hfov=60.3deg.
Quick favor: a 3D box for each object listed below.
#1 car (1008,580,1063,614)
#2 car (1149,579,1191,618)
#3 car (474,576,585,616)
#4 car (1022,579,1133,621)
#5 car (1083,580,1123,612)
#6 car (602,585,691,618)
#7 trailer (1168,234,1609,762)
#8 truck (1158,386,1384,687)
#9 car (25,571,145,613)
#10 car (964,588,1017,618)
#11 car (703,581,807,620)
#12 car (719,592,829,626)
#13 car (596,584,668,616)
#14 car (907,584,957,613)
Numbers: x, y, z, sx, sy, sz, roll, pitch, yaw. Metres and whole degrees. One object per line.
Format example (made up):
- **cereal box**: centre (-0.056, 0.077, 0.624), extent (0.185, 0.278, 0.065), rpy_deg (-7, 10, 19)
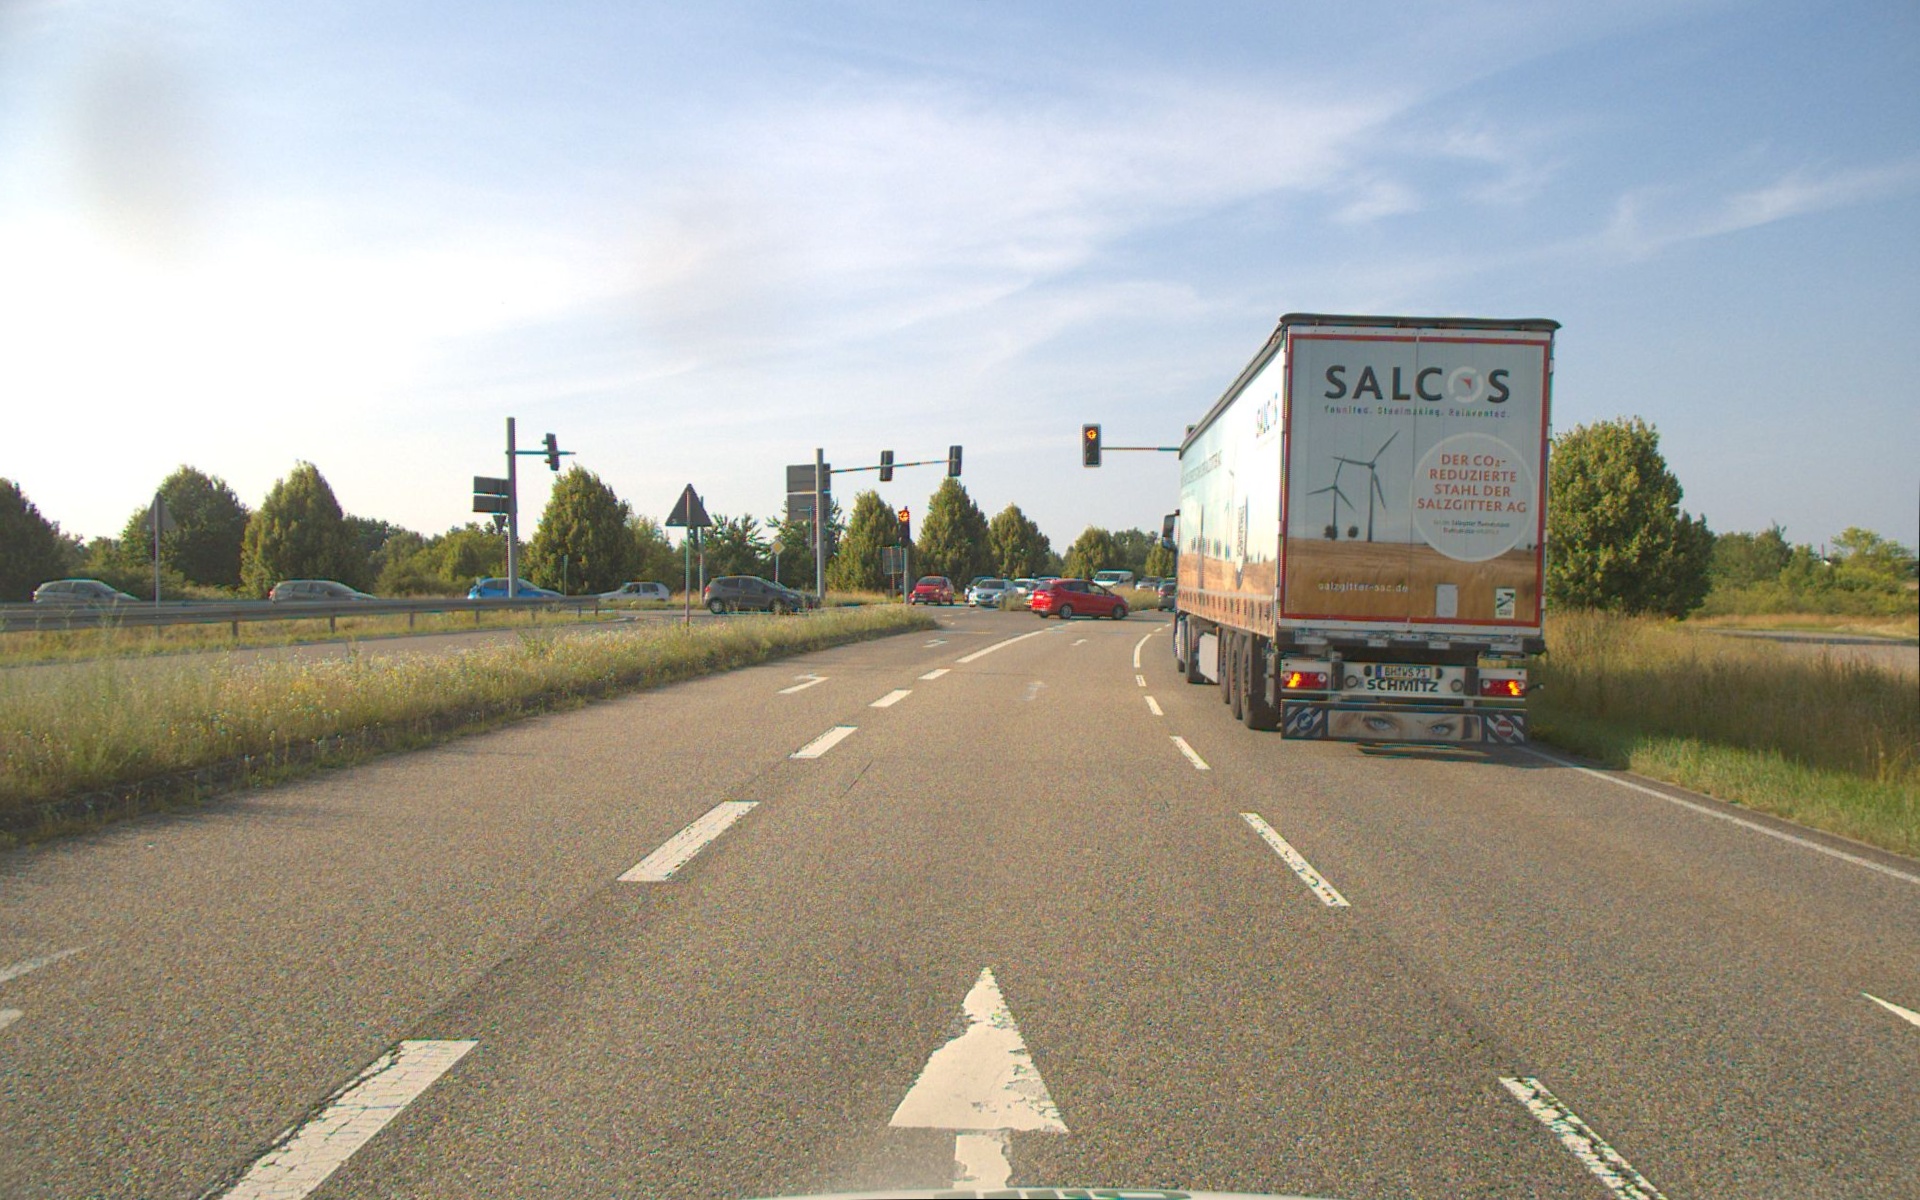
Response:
- **car**: centre (3.412, -0.111, 74.154), extent (1.797, 1.401, 4.281), rpy_deg (1, -1, 12)
- **car**: centre (11.111, -0.049, 87.286), extent (1.868, 1.949, 4.281), rpy_deg (1, -1, 11)
- **car**: centre (-17.243, -0.186, 66.277), extent (3.887, 1.518, 1.780), rpy_deg (1, 1, 11)
- **car**: centre (4.835, 0.017, 68.059), extent (4.215, 1.592, 1.884), rpy_deg (2, -1, -28)
- **car**: centre (9.906, -0.281, 114.163), extent (1.885, 2.114, 4.246), rpy_deg (0, 0, 17)
- **car**: centre (-15.536, 0.066, 82.008), extent (3.902, 1.567, 2.002), rpy_deg (1, 0, 10)
- **trailer**: centre (4.721, -0.997, 21.655), extent (3.212, 4.762, 13.155), rpy_deg (1, 0, 4)
- **truck**: centre (5.281, -1.031, 29.192), extent (3.230, 4.739, 5.735), rpy_deg (1, 0, 4)
- **car**: centre (-36.301, -0.307, 68.645), extent (4.093, 1.633, 1.791), rpy_deg (1, -1, 7)
- **car**: centre (1.591, 0.134, 85.197), extent (1.748, 1.514, 4.655), rpy_deg (0, 0, 14)
- **car**: centre (-7.979, 0.037, 64.692), extent (3.704, 1.440, 1.922), rpy_deg (1, -1, 3)
- **car**: centre (-7.797, 0.377, 69.340), extent (4.173, 1.346, 1.916), rpy_deg (1, -1, 12)
- **car**: centre (-16.313, 0.003, 82.203), extent (3.146, 1.518, 1.763), rpy_deg (0, 1, -28)
- **car**: centre (-1.485, -0.086, 87.653), extent (1.684, 1.514, 3.807), rpy_deg (0, 0, 15)
